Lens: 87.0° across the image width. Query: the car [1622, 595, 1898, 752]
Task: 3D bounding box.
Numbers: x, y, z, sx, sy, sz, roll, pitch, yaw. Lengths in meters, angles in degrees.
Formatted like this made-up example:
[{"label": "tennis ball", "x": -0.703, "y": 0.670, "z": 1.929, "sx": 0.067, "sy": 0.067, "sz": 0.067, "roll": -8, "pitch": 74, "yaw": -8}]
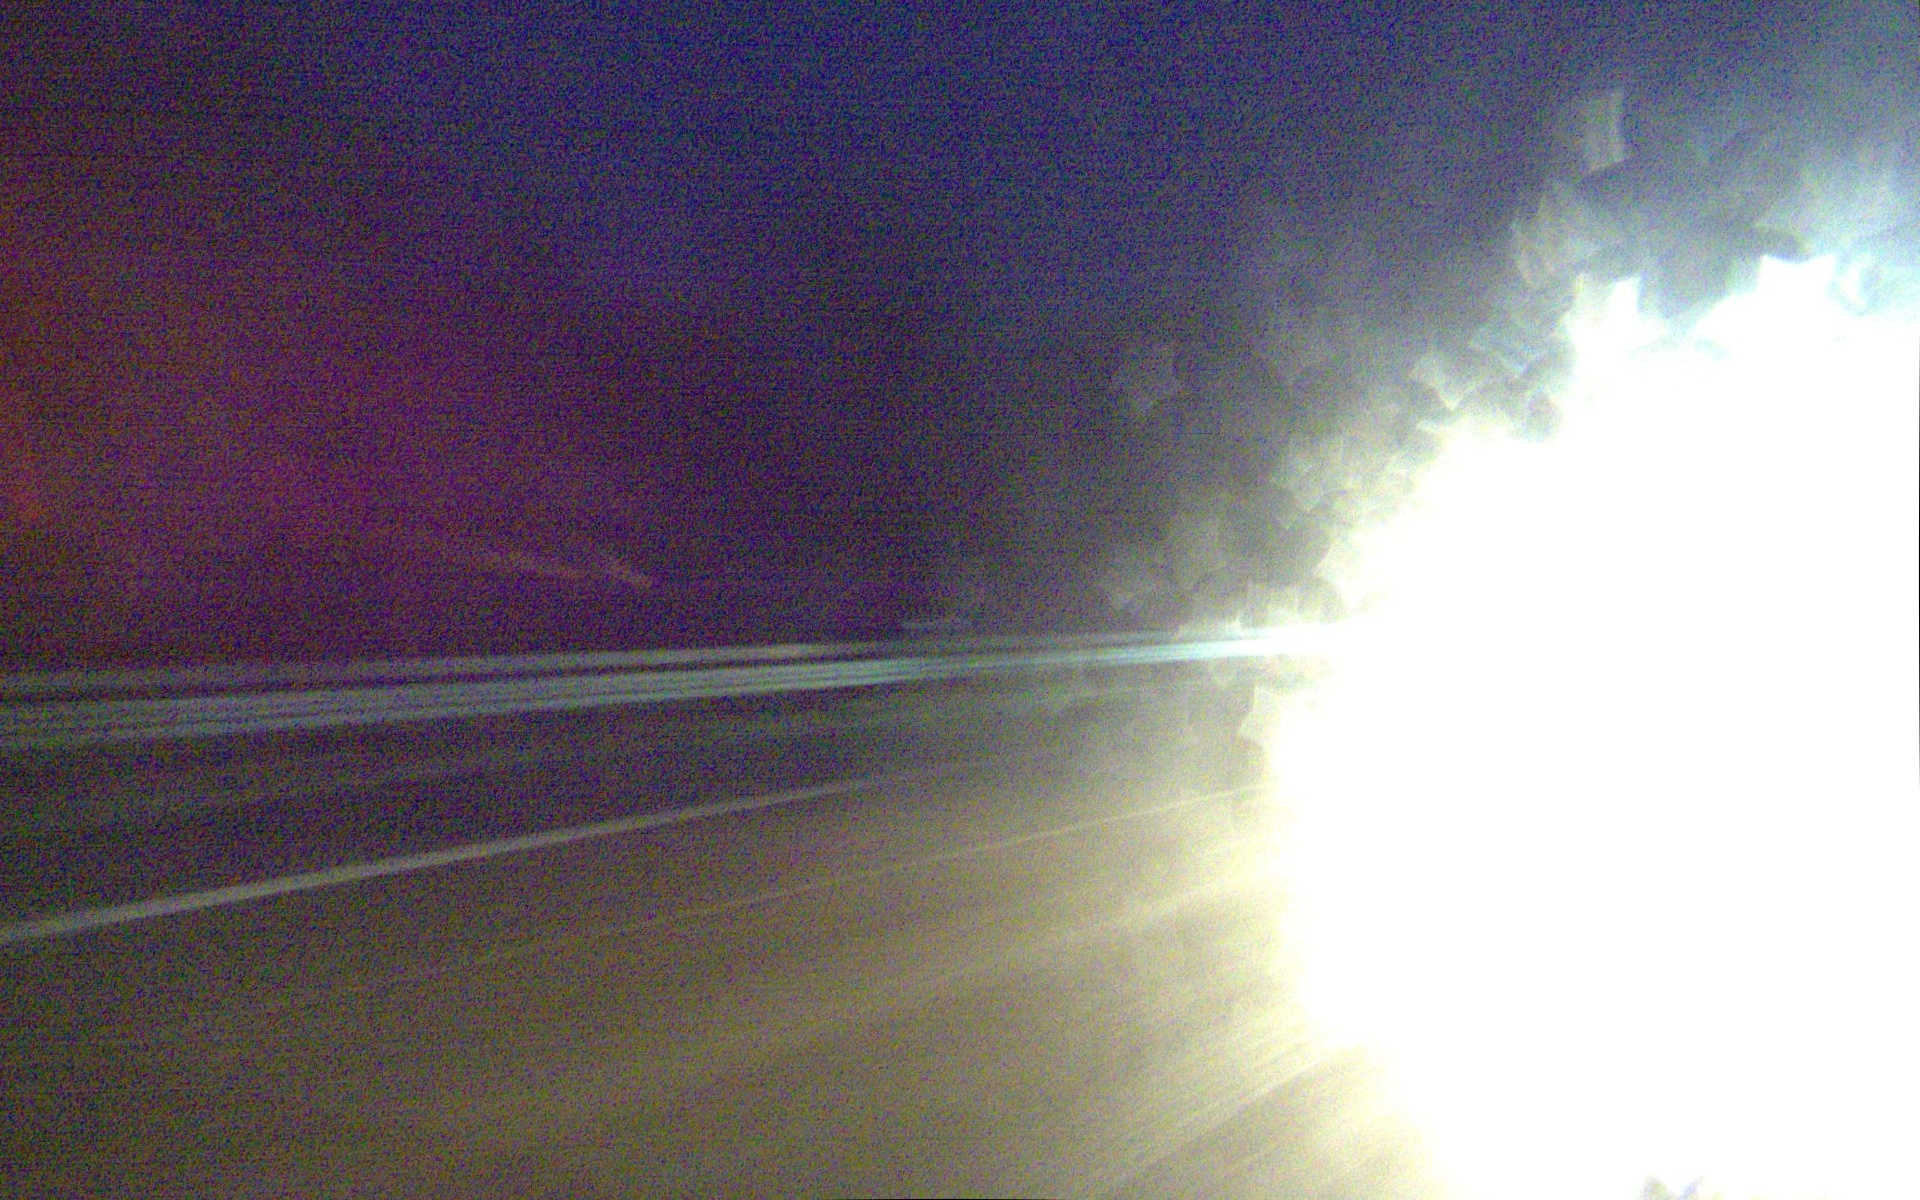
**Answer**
[{"label": "car", "x": 9.231, "y": 0.691, "z": 11.562, "sx": 4.122, "sy": 1.476, "sz": 1.772, "roll": 0, "pitch": 0, "yaw": -41}]
